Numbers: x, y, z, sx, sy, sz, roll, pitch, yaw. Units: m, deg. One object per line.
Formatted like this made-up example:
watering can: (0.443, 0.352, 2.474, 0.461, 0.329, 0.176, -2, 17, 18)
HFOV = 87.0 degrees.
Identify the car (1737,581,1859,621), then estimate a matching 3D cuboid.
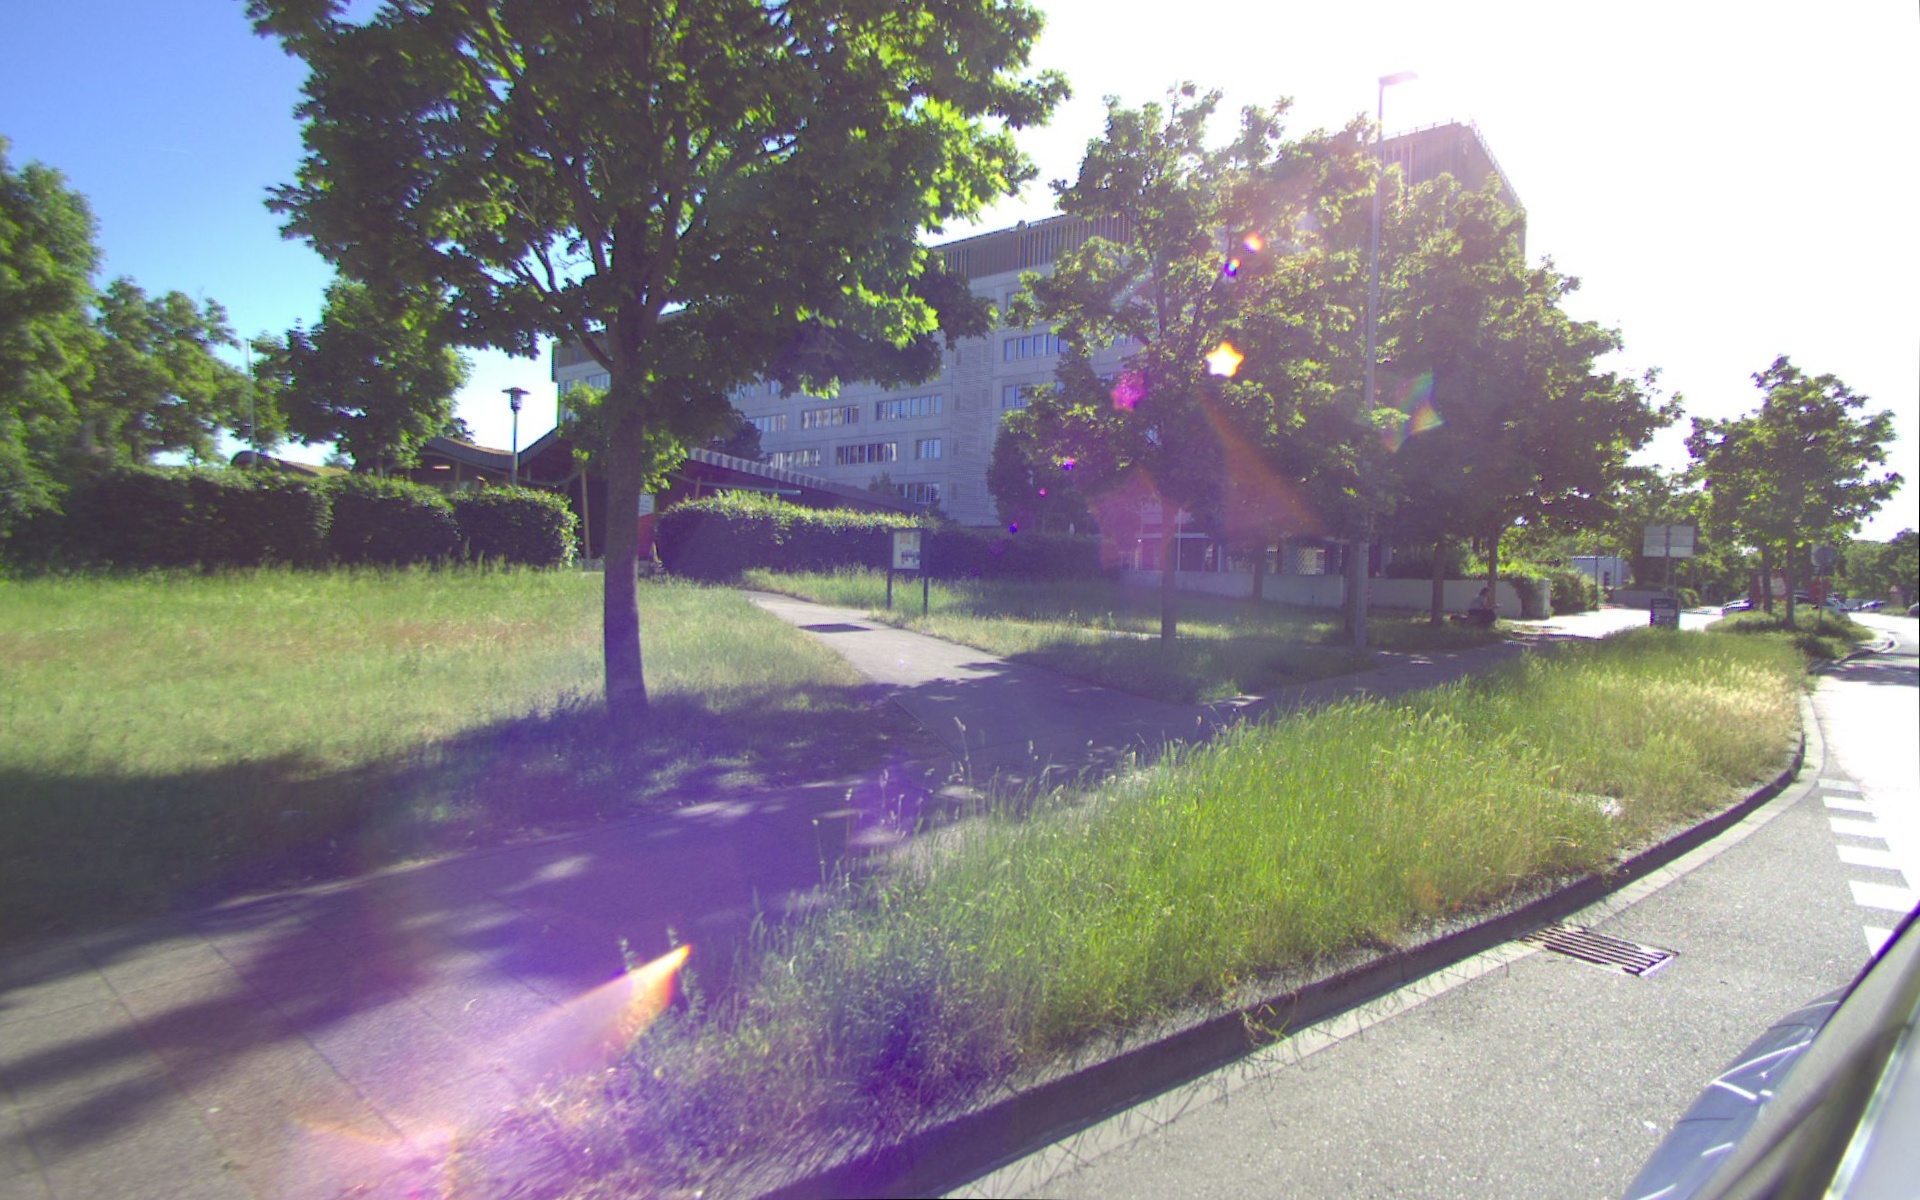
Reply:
car: (40.528, 0.011, 49.064, 4.397, 1.661, 2.045, 4, 3, 40)

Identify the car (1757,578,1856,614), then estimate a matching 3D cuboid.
car: (50.431, -0.267, 60.376, 4.397, 1.915, 2.045, 4, 3, 40)

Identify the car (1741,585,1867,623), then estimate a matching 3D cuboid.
car: (39.252, 0.155, 47.193, 4.397, 1.481, 1.868, 4, 3, 40)

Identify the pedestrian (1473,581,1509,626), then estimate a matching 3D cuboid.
pedestrian: (15.179, 0.082, 28.962, 0.839, 1.232, 0.722, 4, 2, 27)
